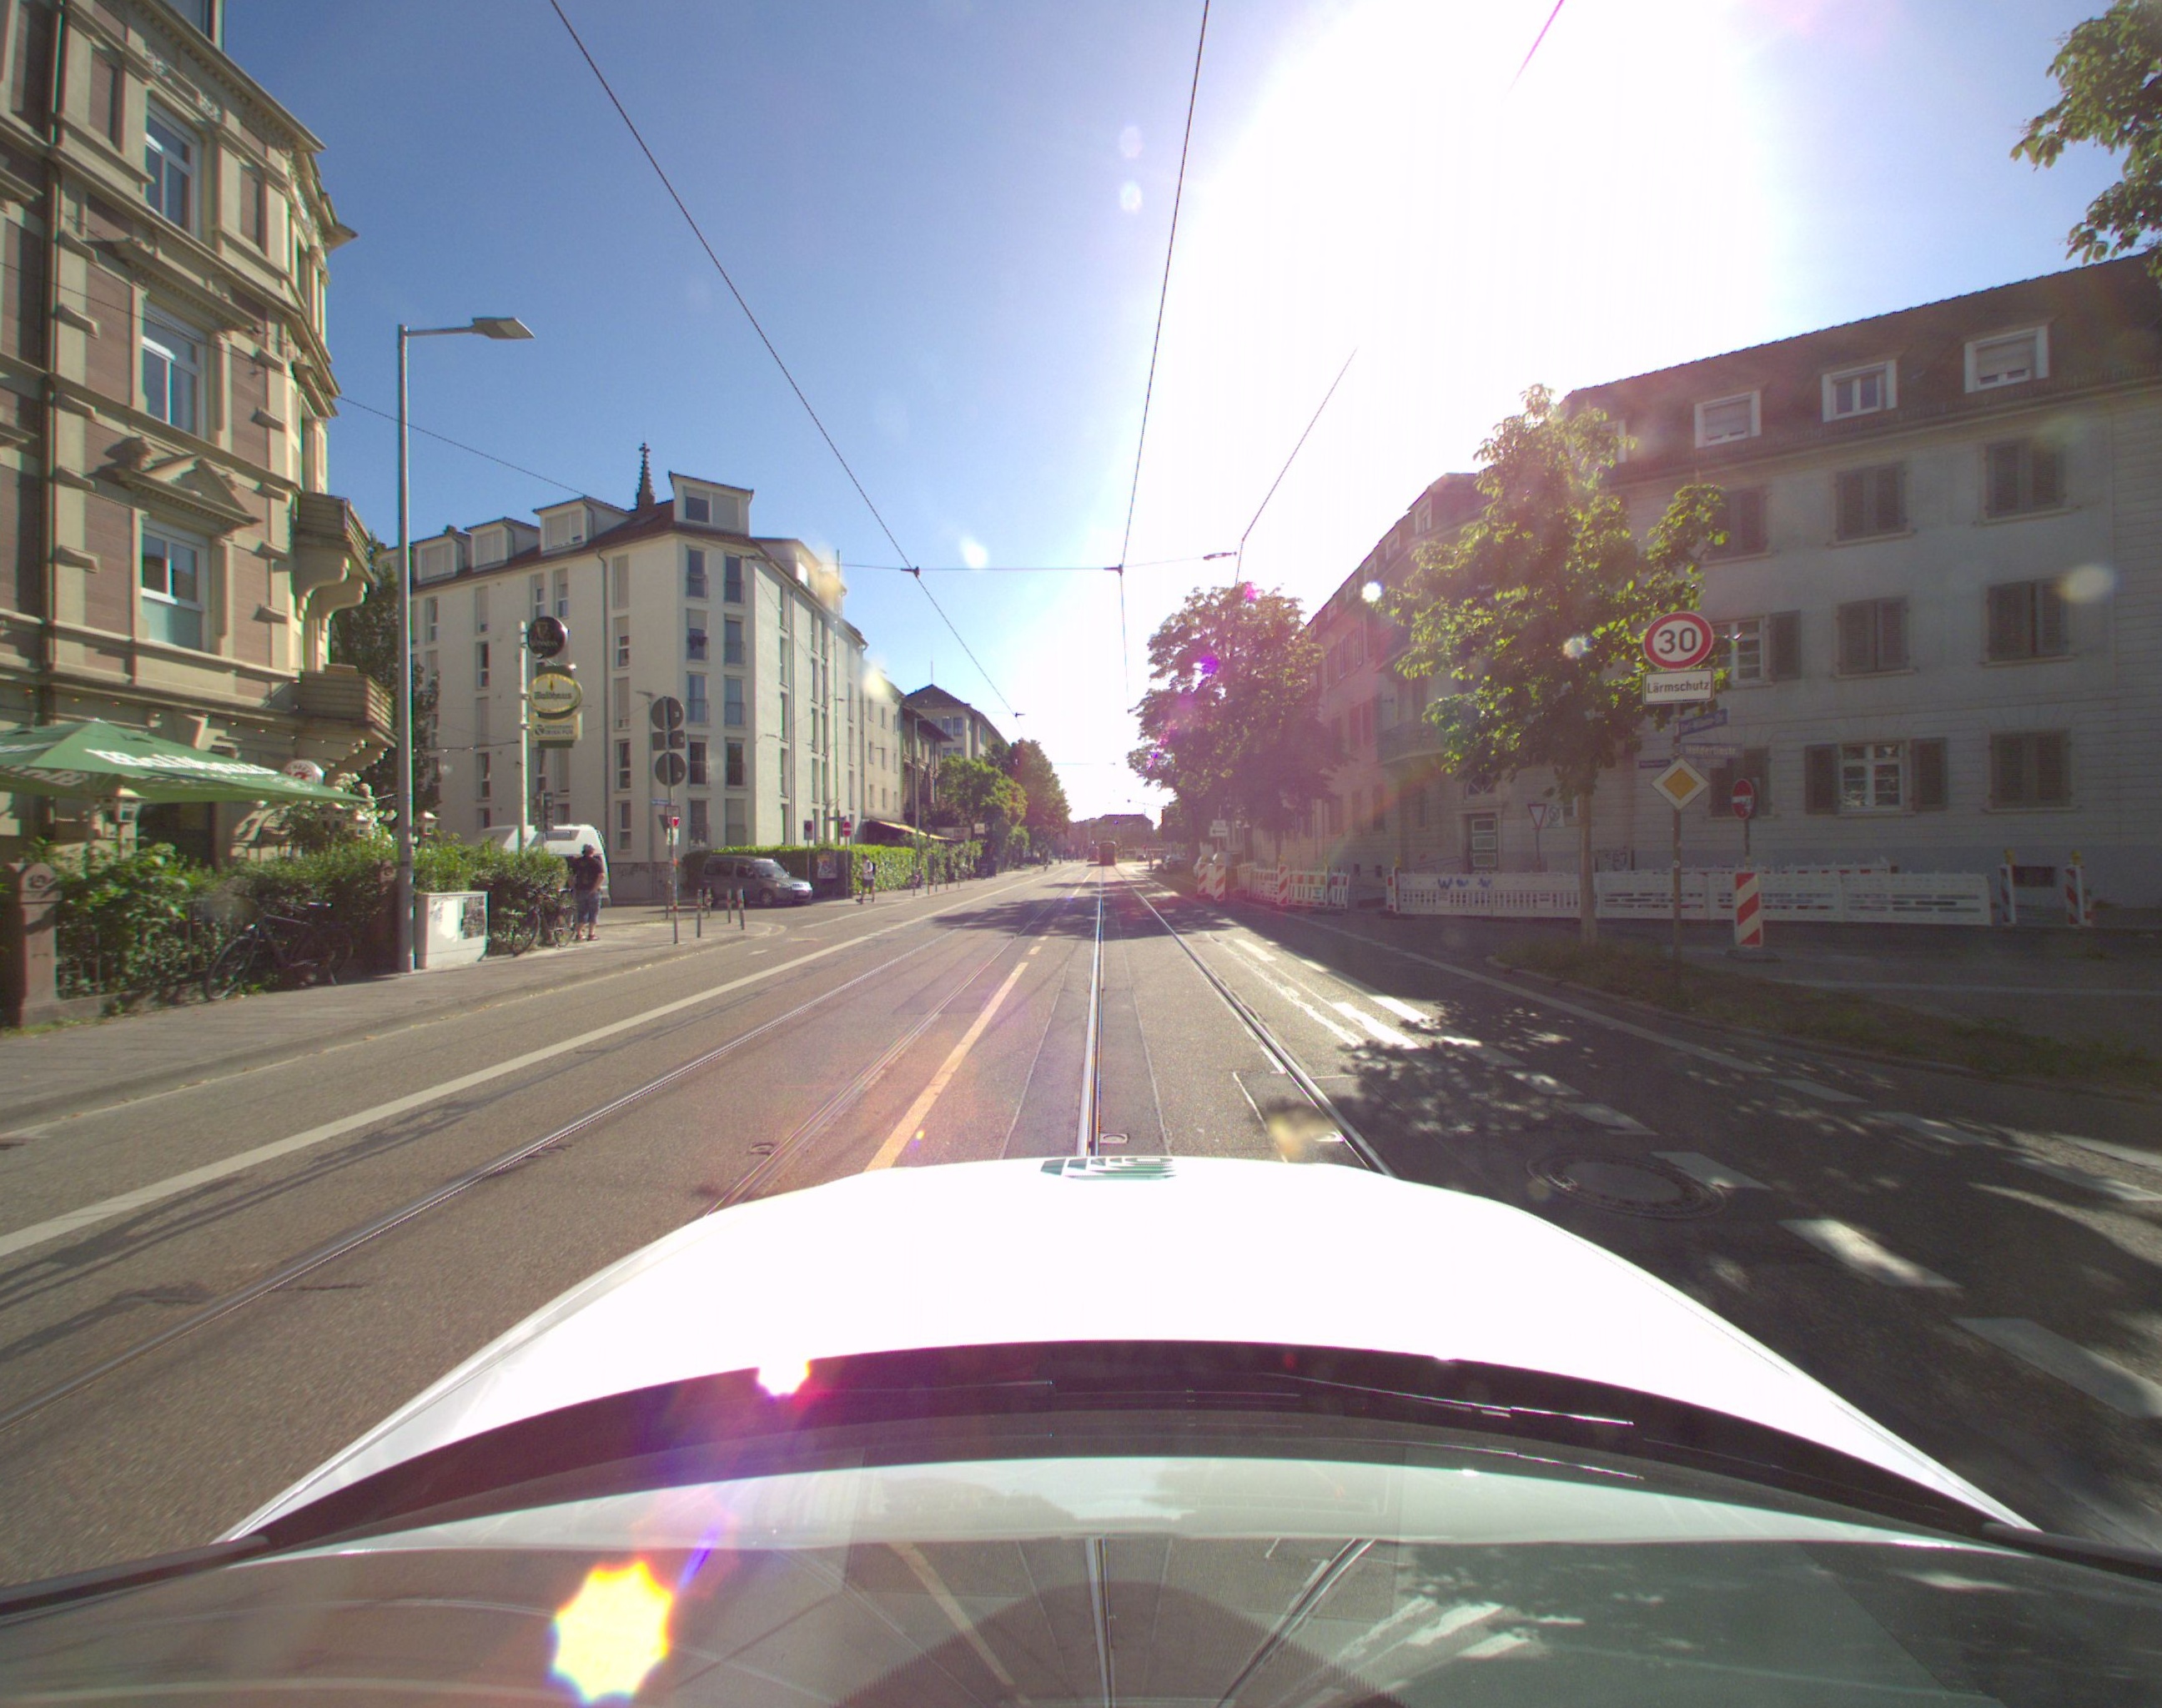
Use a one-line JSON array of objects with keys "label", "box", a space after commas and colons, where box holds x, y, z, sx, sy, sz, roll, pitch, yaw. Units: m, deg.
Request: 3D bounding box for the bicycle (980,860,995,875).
[{"label": "bicycle", "box": [-7.568, 1.106, 66.132, 0.642, 1.143, 1.910, 1, 0, 10]}]

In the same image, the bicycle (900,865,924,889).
[{"label": "bicycle", "box": [-8.142, 1.110, 39.217, 0.659, 1.089, 1.841, 2, -1, 2]}]

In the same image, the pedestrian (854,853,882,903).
[{"label": "pedestrian", "box": [-7.651, 0.858, 29.273, 0.689, 1.768, 0.867, -1, 0, 2]}]

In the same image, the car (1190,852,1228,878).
[{"label": "car", "box": [7.466, 0.620, 47.822, 1.716, 1.382, 4.360, -3, 0, 3]}]

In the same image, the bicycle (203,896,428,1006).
[{"label": "bicycle", "box": [-8.984, 1.080, 9.714, 0.511, 1.038, 2.224, -1, 0, 2]}]

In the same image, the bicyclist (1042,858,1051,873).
[{"label": "bicyclist", "box": [-3.678, 1.206, 85.763, 0.742, 1.599, 1.118, -4, 0, 3]}]

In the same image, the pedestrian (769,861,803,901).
[{"label": "pedestrian", "box": [-11.382, 1.035, 31.456, 0.945, 1.478, 0.761, 1, 0, 21]}]

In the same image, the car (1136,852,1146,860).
[{"label": "car", "box": [12.148, 0.474, 164.699, 1.780, 1.604, 3.719, 0, 0, 6]}]

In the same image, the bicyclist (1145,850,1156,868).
[{"label": "bicyclist", "box": [6.644, 0.503, 77.738, 0.699, 1.675, 1.107, 1, 0, 21]}]

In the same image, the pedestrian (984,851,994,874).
[{"label": "pedestrian", "box": [-7.262, 0.660, 64.265, 0.570, 1.831, 0.693, -1, 0, 20]}]

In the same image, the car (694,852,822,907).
[{"label": "car", "box": [-11.312, 0.895, 28.525, 4.005, 1.807, 1.801, -2, -2, 22]}]

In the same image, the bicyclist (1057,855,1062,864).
[{"label": "bicyclist", "box": [-3.902, 1.019, 146.079, 0.683, 1.644, 1.239, -3, 0, 6]}]

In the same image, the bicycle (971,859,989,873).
[{"label": "bicycle", "box": [-7.980, 0.953, 64.543, 0.631, 1.045, 2.031, -1, 0, 18]}]

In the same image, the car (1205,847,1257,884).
[{"label": "car", "box": [7.261, 0.514, 39.914, 1.803, 1.626, 4.586, -3, 0, 2]}]

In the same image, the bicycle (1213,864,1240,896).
[{"label": "bicycle", "box": [5.284, 0.936, 29.730, 0.735, 1.094, 2.113, 0, 0, 4]}]

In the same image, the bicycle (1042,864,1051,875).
[{"label": "bicycle", "box": [-3.649, 1.651, 85.760, 0.742, 1.082, 1.900, -4, 0, 3]}]

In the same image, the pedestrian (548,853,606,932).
[{"label": "pedestrian", "box": [-10.879, 0.822, 17.595, 0.697, 1.654, 0.838, -2, -2, 33]}]

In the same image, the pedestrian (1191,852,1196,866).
[{"label": "pedestrian", "box": [13.201, 0.622, 95.530, 0.515, 1.600, 0.765, -1, 0, 4]}]

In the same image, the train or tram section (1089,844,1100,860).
[{"label": "train or tram section", "box": [3.335, -0.492, 201.973, 2.732, 3.651, 13.788, -1, 0, 1]}]

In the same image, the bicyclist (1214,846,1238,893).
[{"label": "bicyclist", "box": [5.287, 0.540, 29.763, 0.735, 1.686, 0.973, 0, 0, 3]}]

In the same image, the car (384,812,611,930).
[{"label": "car", "box": [-15.613, 0.467, 22.174, 1.871, 2.841, 4.806, -2, -1, 18]}]

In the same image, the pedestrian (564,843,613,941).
[{"label": "pedestrian", "box": [-9.099, 0.688, 15.053, 0.555, 1.781, 0.538, -1, -1, -2]}]

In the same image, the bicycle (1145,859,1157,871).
[{"label": "bicycle", "box": [6.671, 1.058, 77.825, 0.699, 1.104, 1.726, 1, 1, 21]}]

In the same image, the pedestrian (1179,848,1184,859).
[{"label": "pedestrian", "box": [18.144, -0.115, 147.140, 0.635, 1.903, 1.135, -3, 0, 3]}]

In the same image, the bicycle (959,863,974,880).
[{"label": "bicycle", "box": [-7.570, 1.153, 53.699, 0.636, 1.059, 1.744, 1, 0, 3]}]

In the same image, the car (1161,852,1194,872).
[{"label": "car", "box": [7.582, 0.629, 64.144, 1.817, 1.458, 4.815, -3, 0, -2]}]

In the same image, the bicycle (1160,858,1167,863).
[{"label": "bicycle", "box": [16.983, 1.329, 167.920, 0.698, 1.055, 2.327, 1, 1, 26]}]

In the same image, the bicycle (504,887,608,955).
[{"label": "bicycle", "box": [-8.705, 1.082, 13.583, 0.525, 0.981, 1.778, -1, 0, 2]}]

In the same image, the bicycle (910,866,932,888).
[{"label": "bicycle", "box": [-8.094, 1.141, 41.199, 0.659, 1.089, 1.841, 2, -1, 2]}]

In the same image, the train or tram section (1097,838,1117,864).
[{"label": "train or tram section", "box": [3.790, -0.482, 120.592, 2.732, 3.651, 13.788, -1, 0, 1]}]

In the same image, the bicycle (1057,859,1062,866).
[{"label": "bicycle", "box": [-3.874, 1.505, 146.094, 0.683, 1.124, 1.934, -3, 0, 6]}]

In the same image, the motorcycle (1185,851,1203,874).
[{"label": "motorcycle", "box": [7.769, 0.574, 56.006, 0.910, 1.488, 2.681, -3, 0, 3]}]

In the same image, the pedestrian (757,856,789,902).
[{"label": "pedestrian", "box": [-11.633, 0.920, 30.726, 0.799, 1.714, 0.761, 1, 0, 21]}]

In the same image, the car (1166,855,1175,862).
[{"label": "car", "box": [18.230, 0.925, 165.820, 1.781, 1.511, 3.717, 0, 0, 4]}]
